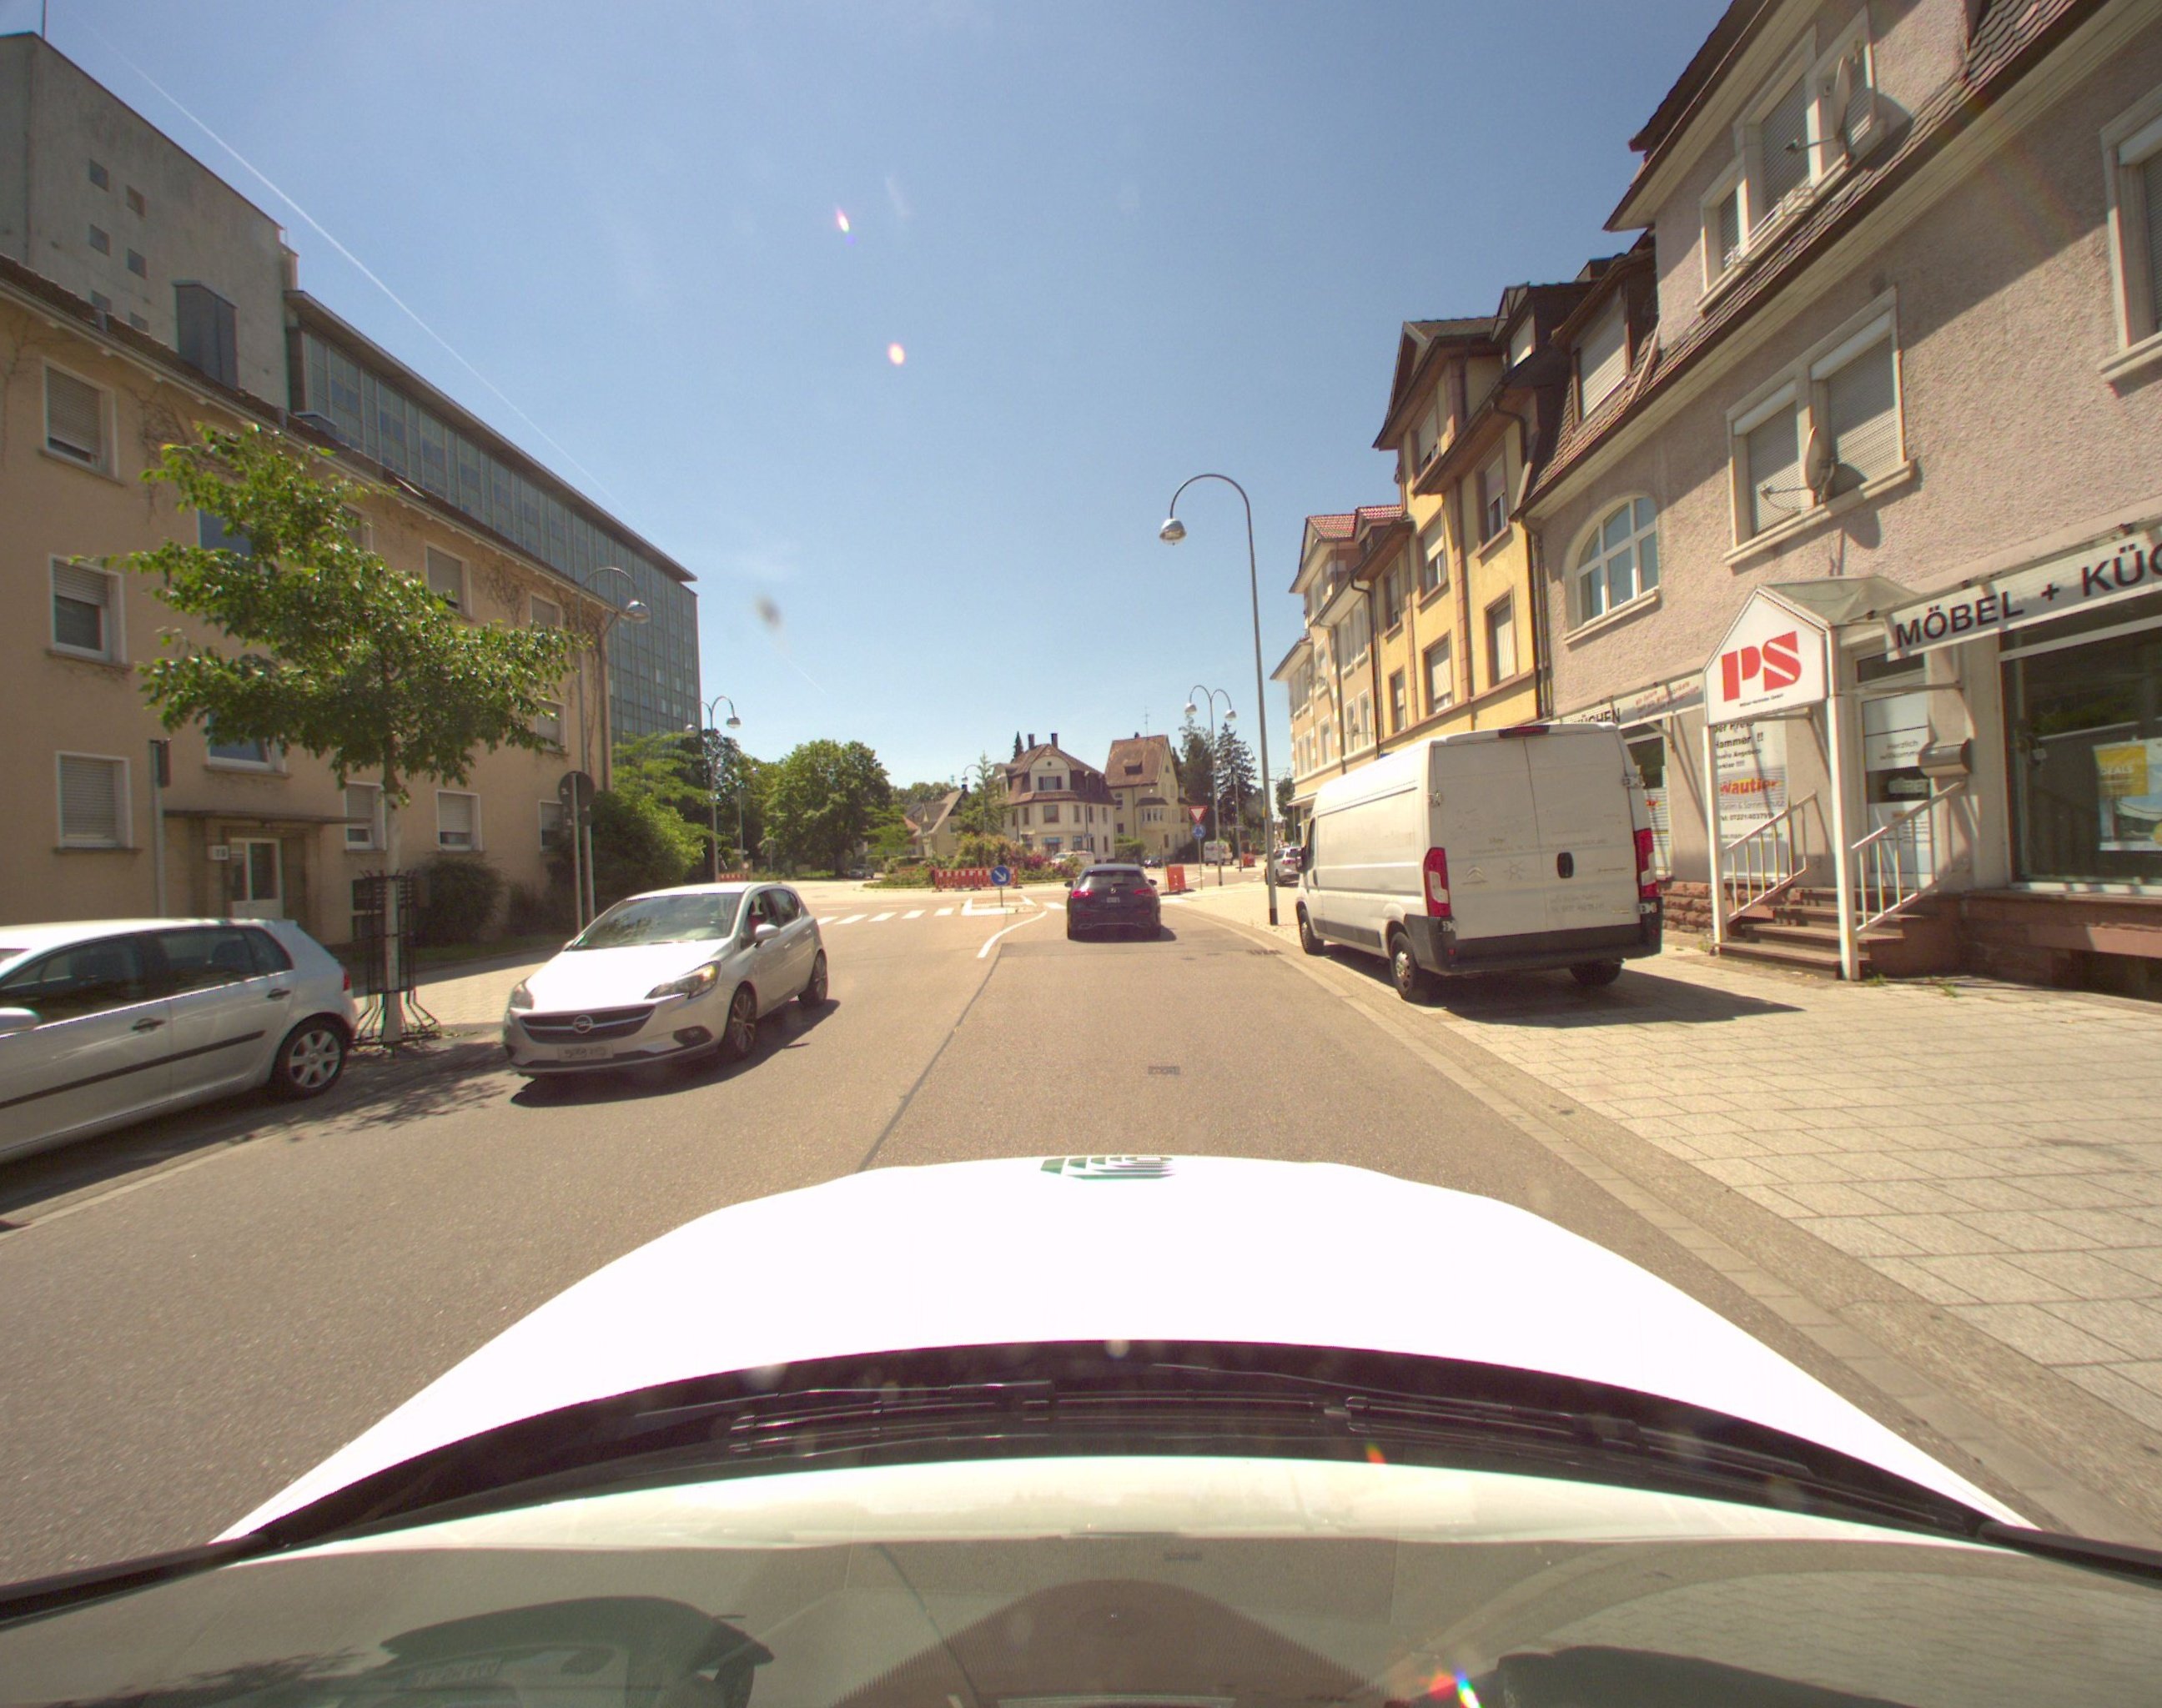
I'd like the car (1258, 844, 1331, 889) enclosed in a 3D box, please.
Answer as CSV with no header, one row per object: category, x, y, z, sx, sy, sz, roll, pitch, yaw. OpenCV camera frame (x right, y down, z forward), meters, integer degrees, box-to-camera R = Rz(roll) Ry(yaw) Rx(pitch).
car,8.283,0.462,32.003,1.757,1.530,4.693,-4,-1,3

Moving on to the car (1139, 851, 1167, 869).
car,7.416,0.586,83.392,1.904,1.772,4.020,-1,0,20

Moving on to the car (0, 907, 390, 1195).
car,-6.845,1.167,4.943,1.990,1.420,4.081,-2,-1,-5

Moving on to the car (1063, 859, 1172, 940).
car,0.692,0.866,16.823,1.947,1.427,4.000,-2,-1,1

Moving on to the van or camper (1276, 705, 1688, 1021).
van or camper,4.140,0.095,9.901,2.157,2.589,5.768,-4,-1,2

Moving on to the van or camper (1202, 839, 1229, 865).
van or camper,14.619,-0.215,88.298,2.188,2.610,4.019,-2,0,18

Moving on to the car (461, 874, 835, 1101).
car,-3.691,1.002,7.775,1.656,1.496,3.754,-3,-1,-3

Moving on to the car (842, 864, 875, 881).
car,-23.163,1.926,84.856,1.774,1.597,3.930,-2,-3,10

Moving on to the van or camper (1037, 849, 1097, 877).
van or camper,-1.118,0.712,68.134,1.974,2.172,5.447,-2,-1,38
